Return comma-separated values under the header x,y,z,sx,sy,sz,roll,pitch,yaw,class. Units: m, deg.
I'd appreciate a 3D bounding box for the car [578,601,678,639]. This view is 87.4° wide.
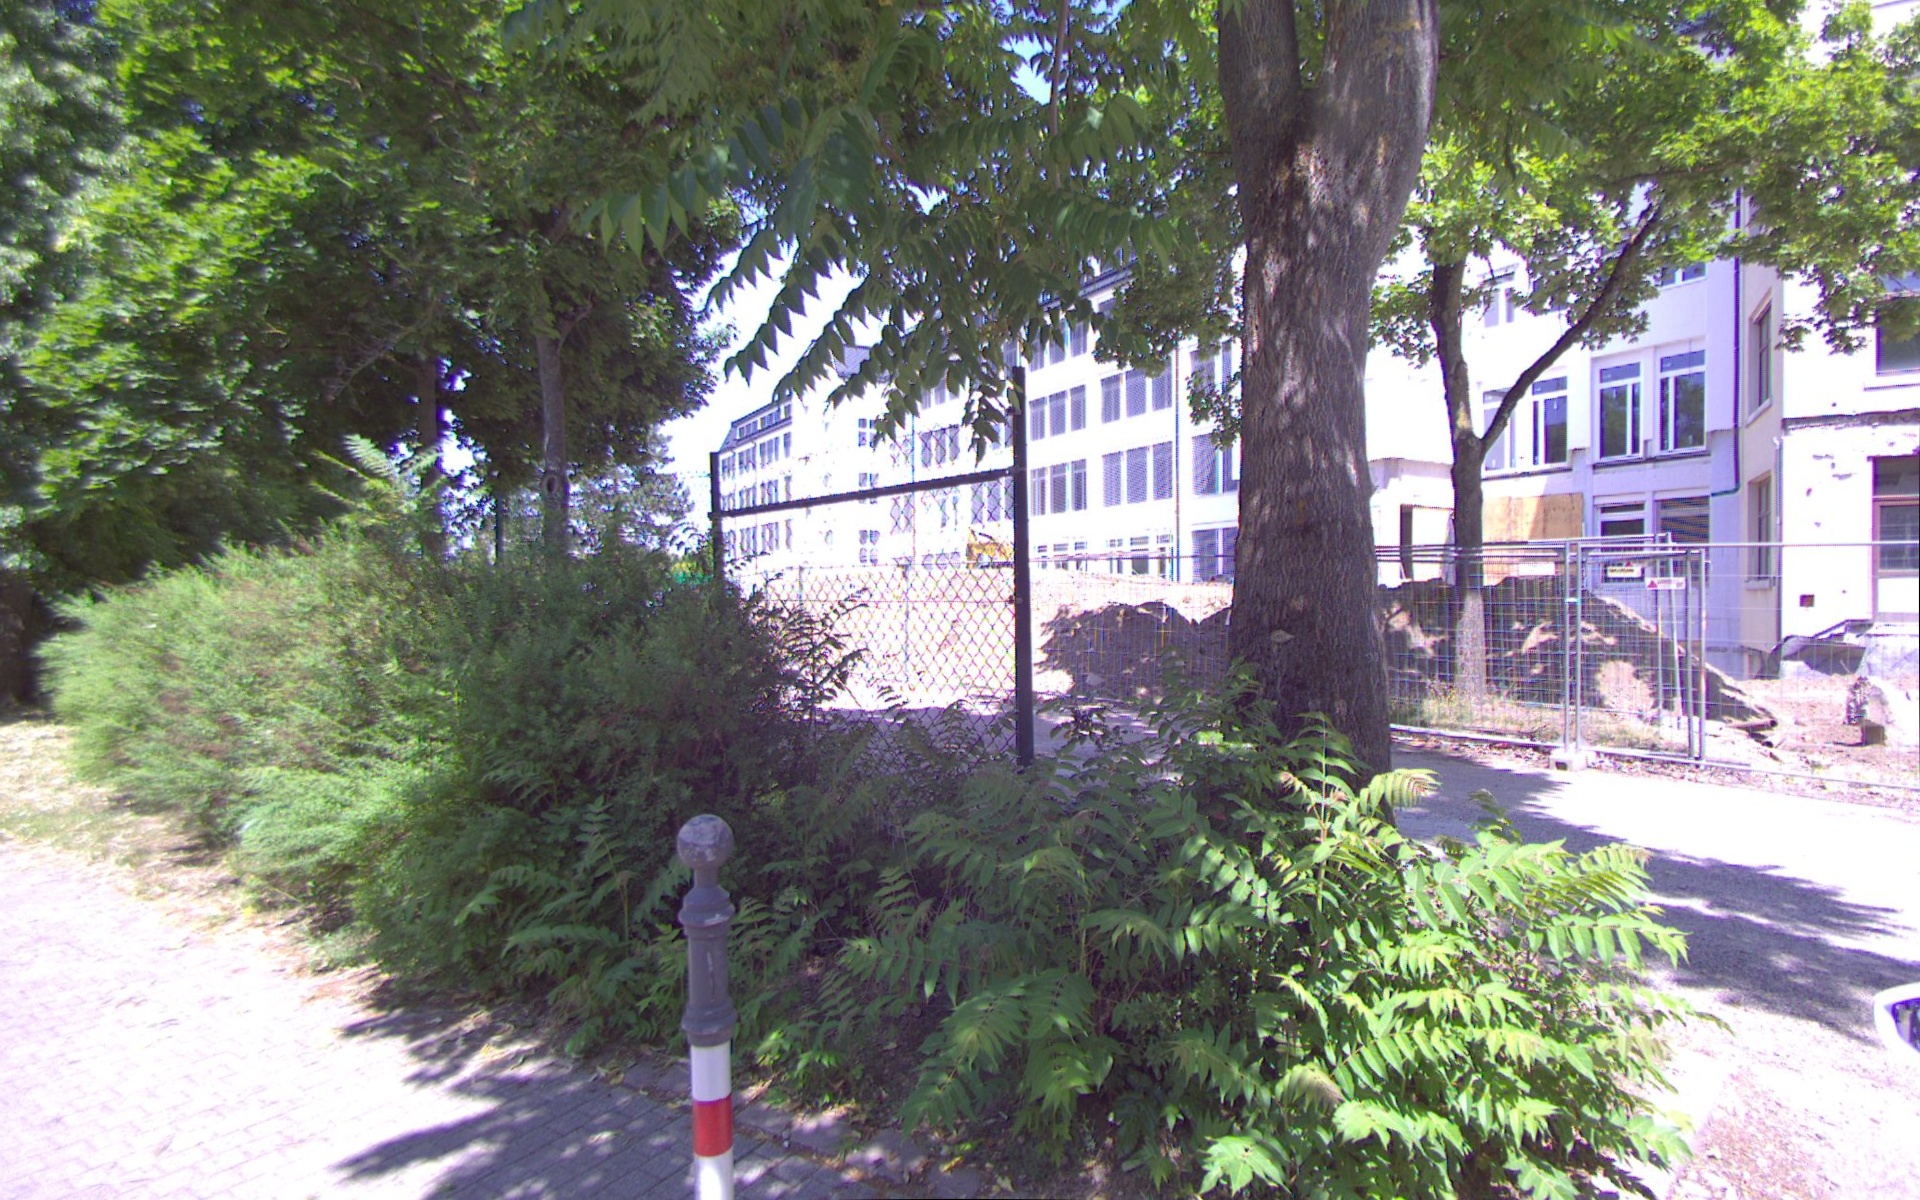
x,y,z,sx,sy,sz,roll,pitch,yaw,class
-13.640,0.806,41.351,3.691,1.514,1.438,0,0,-38,car

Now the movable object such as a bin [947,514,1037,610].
x,y,z,sx,sy,sz,roll,pitch,yaw,class
1.469,-1.713,48.894,1.974,4.430,5.684,0,0,-27,movable object such as a bin
